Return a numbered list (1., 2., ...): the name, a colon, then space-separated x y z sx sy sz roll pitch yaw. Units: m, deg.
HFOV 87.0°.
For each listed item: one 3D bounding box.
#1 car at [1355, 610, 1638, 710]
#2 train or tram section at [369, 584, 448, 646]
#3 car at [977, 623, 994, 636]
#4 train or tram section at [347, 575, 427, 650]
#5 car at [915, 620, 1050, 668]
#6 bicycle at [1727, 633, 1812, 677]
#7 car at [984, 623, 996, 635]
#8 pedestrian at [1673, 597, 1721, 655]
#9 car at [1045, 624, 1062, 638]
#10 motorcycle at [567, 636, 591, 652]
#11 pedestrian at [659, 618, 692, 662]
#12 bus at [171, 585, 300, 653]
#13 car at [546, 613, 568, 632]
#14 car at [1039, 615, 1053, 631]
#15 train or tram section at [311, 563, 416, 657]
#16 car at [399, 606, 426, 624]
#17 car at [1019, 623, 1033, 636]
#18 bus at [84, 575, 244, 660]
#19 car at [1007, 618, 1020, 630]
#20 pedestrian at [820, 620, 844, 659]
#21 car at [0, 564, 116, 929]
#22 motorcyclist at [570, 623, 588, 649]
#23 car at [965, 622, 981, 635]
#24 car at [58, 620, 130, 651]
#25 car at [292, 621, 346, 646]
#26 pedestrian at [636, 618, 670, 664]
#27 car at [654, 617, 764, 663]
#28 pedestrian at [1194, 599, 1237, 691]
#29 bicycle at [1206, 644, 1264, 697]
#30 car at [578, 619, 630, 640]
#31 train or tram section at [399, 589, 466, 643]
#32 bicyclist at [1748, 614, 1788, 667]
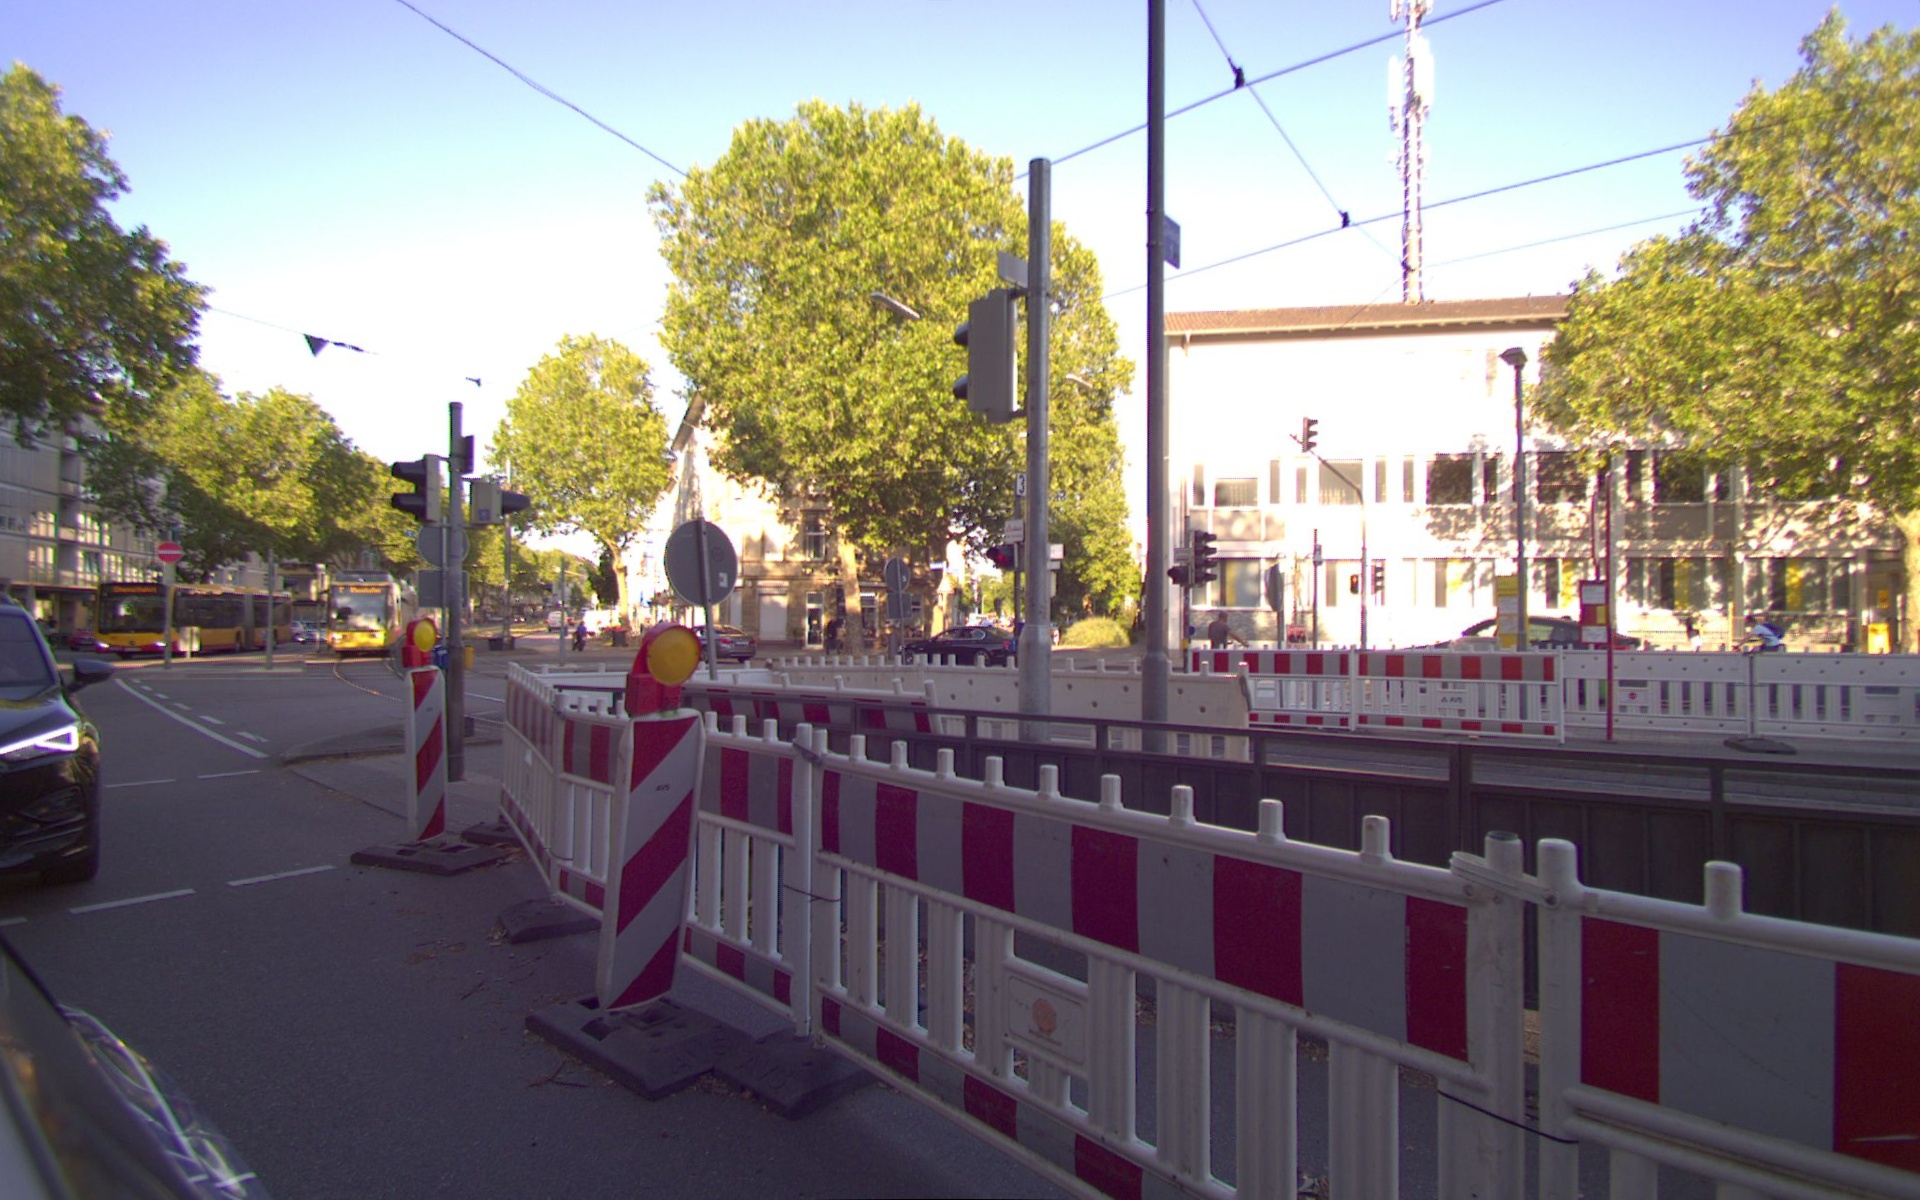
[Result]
1. car: 10.150 1.060 19.302 4.576 1.680 1.878 -1 0 35
2. train or tram section: -33.595 0.944 61.998 2.830 3.514 10.372 0 -1 -21
3. car: 2.881 3.333 114.928 1.705 1.505 3.994 0 -1 4
4. train or tram section: -29.542 0.708 52.545 2.795 3.514 10.372 0 -1 -25
5. car: 0.653 1.444 33.387 1.968 1.459 4.545 2 -3 -40
6. bicycle: 18.495 1.238 23.156 1.457 0.974 0.407 -1 -2 33
7. car: 5.087 4.884 171.826 1.828 2.031 3.994 0 -1 4
8. pedestrian: 22.556 0.798 31.000 0.875 1.742 0.806 0 -2 9
9. car: 9.926 3.300 107.784 1.705 1.505 3.994 0 -1 4
10. motorcycle: -20.210 2.324 53.676 0.671 0.814 2.000 1 -1 -37
11. pedestrian: -9.771 1.368 34.778 0.795 1.520 0.793 -1 -2 17
12. bus: -36.243 0.997 51.041 2.707 3.127 9.526 1 -2 -19
13. car: -46.529 2.633 116.938 2.131 2.138 4.994 2 -3 -20
14. car: 11.463 3.040 135.213 1.828 2.160 3.994 0 -1 4
15. train or tram section: -25.158 0.493 43.139 2.776 3.514 10.372 0 -1 -25
16. car: -53.234 1.456 98.515 1.923 1.791 4.013 1 -1 -23
17. car: 7.874 3.457 120.403 1.705 1.505 3.994 0 -1 4
18. bus: -32.775 0.780 42.170 2.707 3.127 9.528 1 -2 -23
19. car: 7.103 3.184 134.682 1.705 1.505 3.994 0 -1 4
20. pedestrian: -5.917 1.803 46.687 0.801 1.769 0.787 -1 -2 41
21. car: -6.269 0.708 5.776 4.300 1.670 1.823 -1 -1 44
22. motorcyclist: -20.207 1.892 53.674 0.671 1.325 0.987 1 -1 -37
23. car: 1.526 3.407 121.036 1.705 1.505 3.994 0 -1 4
24. car: -43.513 1.769 50.927 1.624 1.483 3.720 0 -2 -22
25. car: -41.240 2.123 65.220 1.880 1.486 4.431 1 -1 -17
26. pedestrian: -10.332 1.386 34.096 0.794 1.520 0.794 0 -2 12
27. car: -9.724 1.558 39.006 4.690 1.667 1.926 -2 -3 44
28. pedestrian: 5.074 0.885 20.114 0.588 1.772 0.597 1 -2 -43
29. bicycle: 5.381 1.367 19.756 1.558 0.973 0.322 1 -2 -44
30. car: -34.022 2.802 96.773 1.895 1.991 4.604 -1 -2 29
31. train or tram section: -37.188 1.162 71.717 2.795 3.514 10.371 0 -1 -20
32. bicyclist: 18.490 0.918 23.166 0.661 1.182 0.407 -1 -2 32
